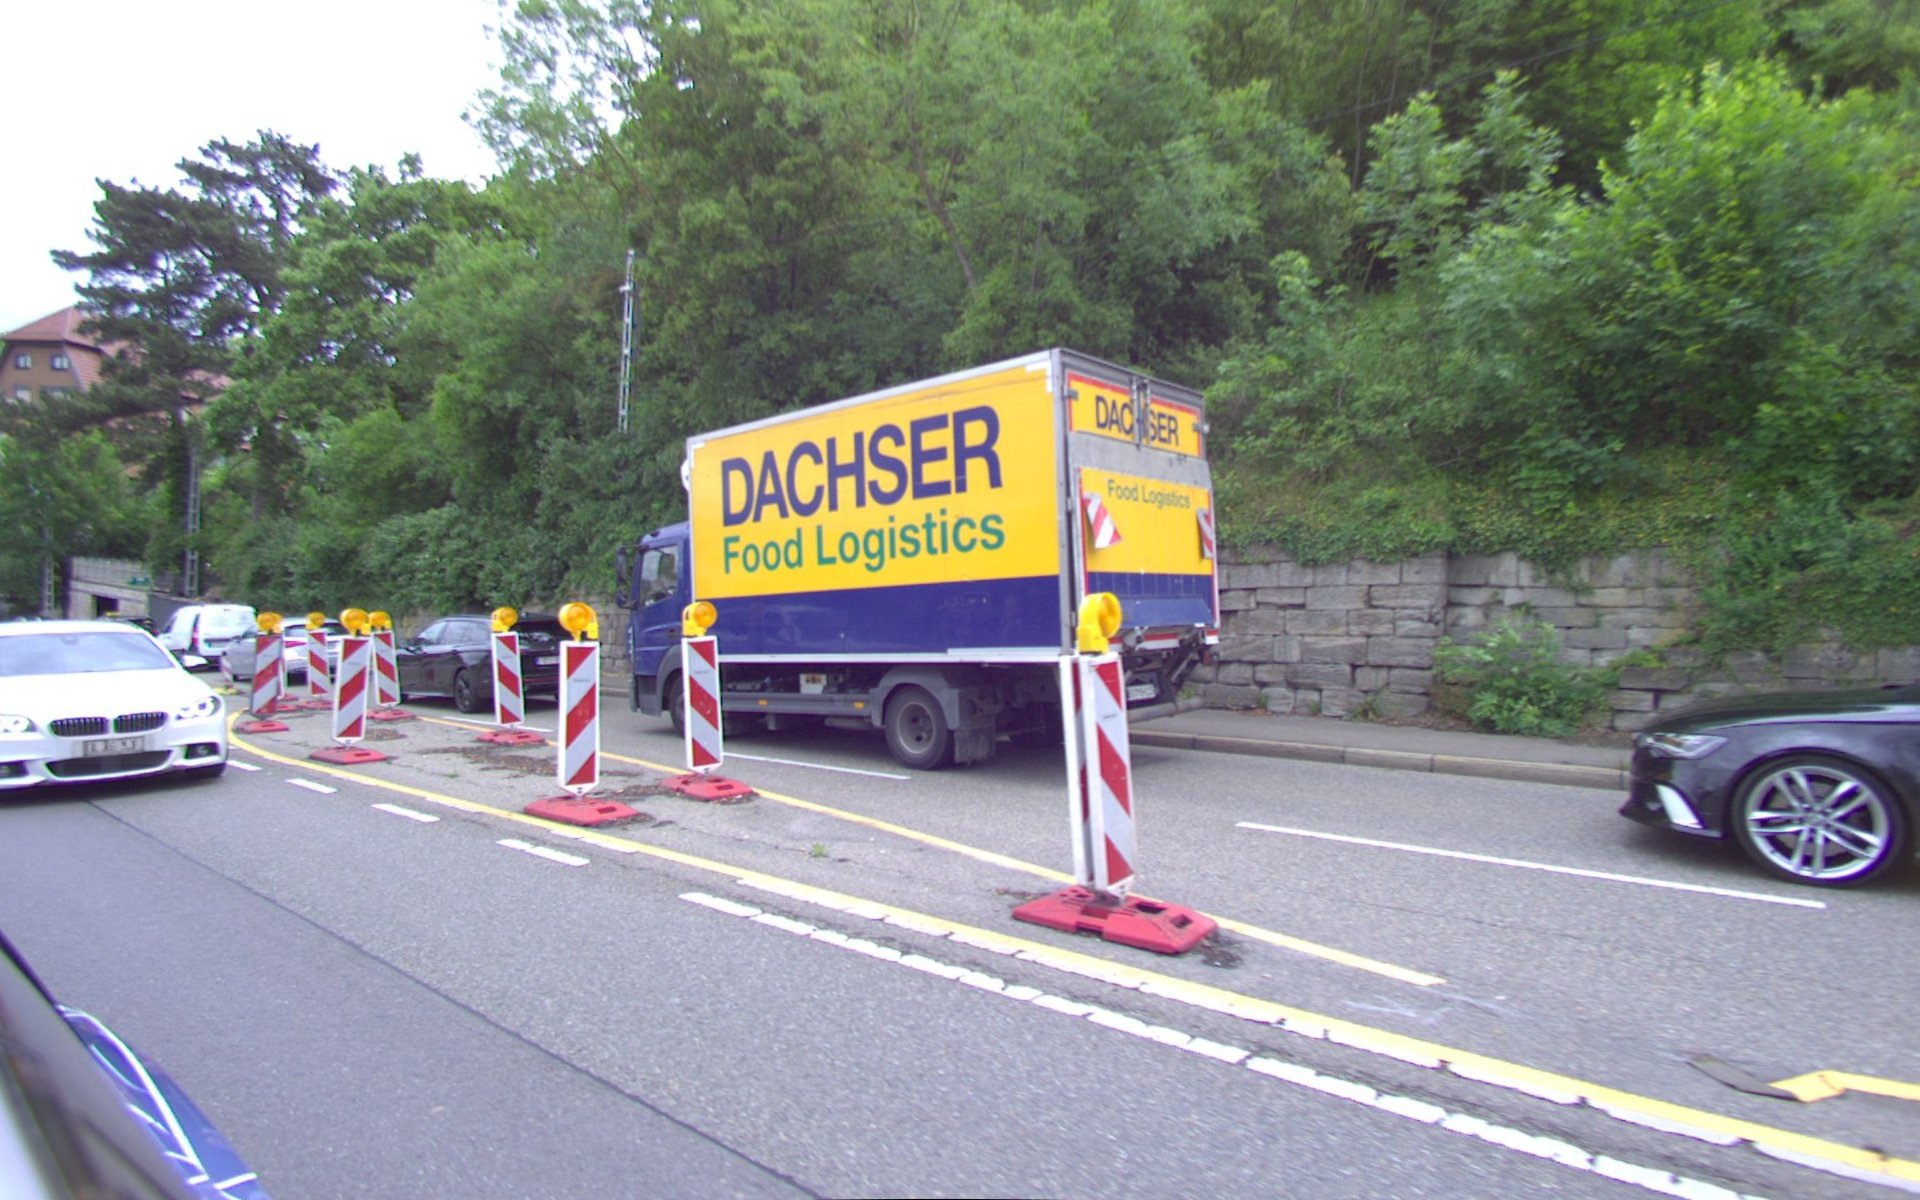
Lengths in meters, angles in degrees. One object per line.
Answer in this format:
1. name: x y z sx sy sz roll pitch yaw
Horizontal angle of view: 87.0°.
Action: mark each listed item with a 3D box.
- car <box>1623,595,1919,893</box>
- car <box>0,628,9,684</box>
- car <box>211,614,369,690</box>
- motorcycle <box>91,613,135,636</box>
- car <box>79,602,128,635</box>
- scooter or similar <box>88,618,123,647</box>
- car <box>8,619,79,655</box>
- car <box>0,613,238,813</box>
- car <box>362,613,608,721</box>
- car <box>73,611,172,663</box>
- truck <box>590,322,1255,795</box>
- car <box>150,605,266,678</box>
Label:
1. car: 6.167 0.675 4.809 4.870 1.440 1.791 -1 -1 40
2. car: -24.876 1.382 24.945 4.099 1.316 1.774 -1 -1 42
3. car: -15.207 1.110 22.900 4.307 1.519 1.774 -1 0 39
4. motorcycle: -47.710 1.384 57.032 0.637 1.192 1.818 5 4 42
5. car: -49.419 1.041 58.394 3.585 1.616 1.553 5 4 40
6. scooter or similar: -38.677 1.452 45.811 0.489 1.242 1.212 -1 0 6
7. car: -41.364 1.637 45.667 4.315 1.496 1.810 -1 1 40
8. car: -8.742 0.901 9.785 4.877 1.478 1.828 -1 1 42
9. car: -7.775 0.971 16.348 4.742 1.452 1.753 -1 1 40
10. car: -28.835 1.220 34.795 4.651 1.604 1.812 -1 0 40
11. truck: -0.858 -0.271 10.994 7.345 3.537 2.703 -1 -1 41
12. car: -20.870 1.088 28.028 4.341 1.804 1.783 -1 0 42
